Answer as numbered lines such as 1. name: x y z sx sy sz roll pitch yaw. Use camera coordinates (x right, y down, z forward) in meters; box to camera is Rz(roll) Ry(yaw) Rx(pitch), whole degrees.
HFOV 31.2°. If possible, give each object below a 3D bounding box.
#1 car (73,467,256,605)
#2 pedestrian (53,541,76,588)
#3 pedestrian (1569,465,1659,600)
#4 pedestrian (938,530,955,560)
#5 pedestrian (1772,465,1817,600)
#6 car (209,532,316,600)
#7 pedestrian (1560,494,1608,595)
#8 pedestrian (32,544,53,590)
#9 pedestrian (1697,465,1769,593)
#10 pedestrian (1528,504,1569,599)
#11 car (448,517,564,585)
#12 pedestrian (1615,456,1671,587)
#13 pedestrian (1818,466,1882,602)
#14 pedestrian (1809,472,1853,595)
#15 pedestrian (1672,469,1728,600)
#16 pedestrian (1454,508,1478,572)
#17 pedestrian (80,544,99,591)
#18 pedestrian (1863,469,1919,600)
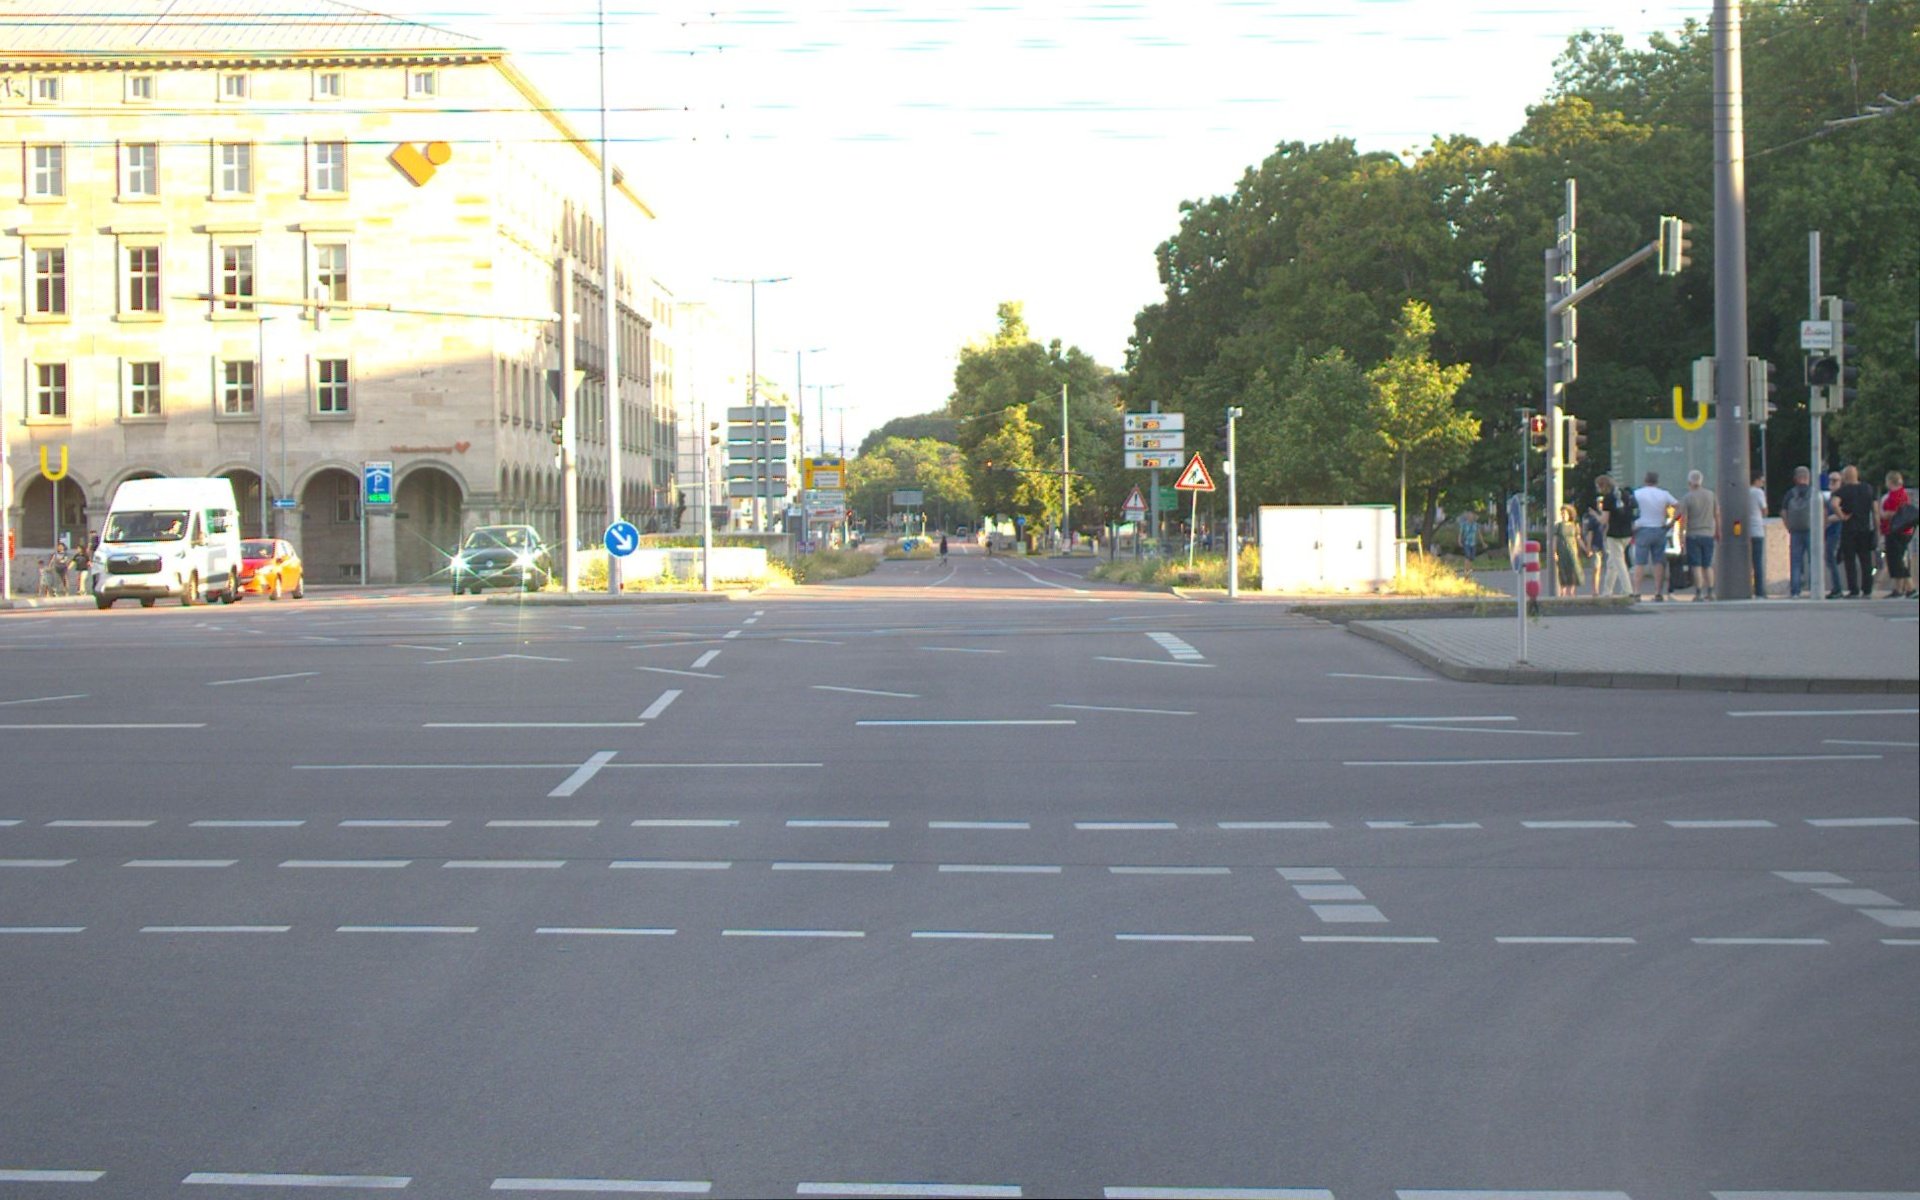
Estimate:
1. car: -16.694 -1.372 72.477 2.279 2.766 6.084 -1 2 1
2. pedestrian: -25.045 -0.997 96.156 0.505 1.296 0.701 1 0 -5
3. pedestrian: 8.446 -0.880 44.411 0.914 1.719 0.711 1 2 39
4. pedestrian: -0.746 -3.118 194.738 0.906 1.665 1.307 -1 2 -1
5. pedestrian: 11.084 -0.897 45.665 0.572 1.785 0.638 0 2 14
6. car: -16.436 -0.823 81.187 1.738 1.482 4.001 -1 2 -1
7. pedestrian: 11.014 -0.985 60.630 0.680 1.751 0.901 0 2 20
8. pedestrian: -25.682 -0.920 96.228 0.474 1.296 0.464 1 0 -5
9. pedestrian: 10.490 -0.962 46.668 0.912 1.719 0.713 0 2 10
10. pedestrian: 10.416 -0.864 60.850 0.560 1.649 0.901 0 2 20
11. car: -9.557 -1.064 72.631 1.823 1.337 4.000 -1 2 2
12. pedestrian: 9.119 -1.051 45.894 0.711 1.719 0.668 0 2 11
13. pedestrian: 11.813 -0.878 45.646 0.805 1.785 0.800 0 2 14
14. pedestrian: 11.941 -0.914 47.126 0.572 1.673 0.638 0 2 14
15. pedestrian: 9.833 -0.874 45.665 0.711 1.719 0.668 0 2 13
16. pedestrian: 13.982 -1.652 95.070 0.642 1.754 0.524 0 2 8
17. pedestrian: -24.247 -0.900 95.743 0.420 1.296 0.460 1 0 -5
18. pedestrian: 12.549 -0.883 46.048 0.845 1.728 0.705 0 2 12
